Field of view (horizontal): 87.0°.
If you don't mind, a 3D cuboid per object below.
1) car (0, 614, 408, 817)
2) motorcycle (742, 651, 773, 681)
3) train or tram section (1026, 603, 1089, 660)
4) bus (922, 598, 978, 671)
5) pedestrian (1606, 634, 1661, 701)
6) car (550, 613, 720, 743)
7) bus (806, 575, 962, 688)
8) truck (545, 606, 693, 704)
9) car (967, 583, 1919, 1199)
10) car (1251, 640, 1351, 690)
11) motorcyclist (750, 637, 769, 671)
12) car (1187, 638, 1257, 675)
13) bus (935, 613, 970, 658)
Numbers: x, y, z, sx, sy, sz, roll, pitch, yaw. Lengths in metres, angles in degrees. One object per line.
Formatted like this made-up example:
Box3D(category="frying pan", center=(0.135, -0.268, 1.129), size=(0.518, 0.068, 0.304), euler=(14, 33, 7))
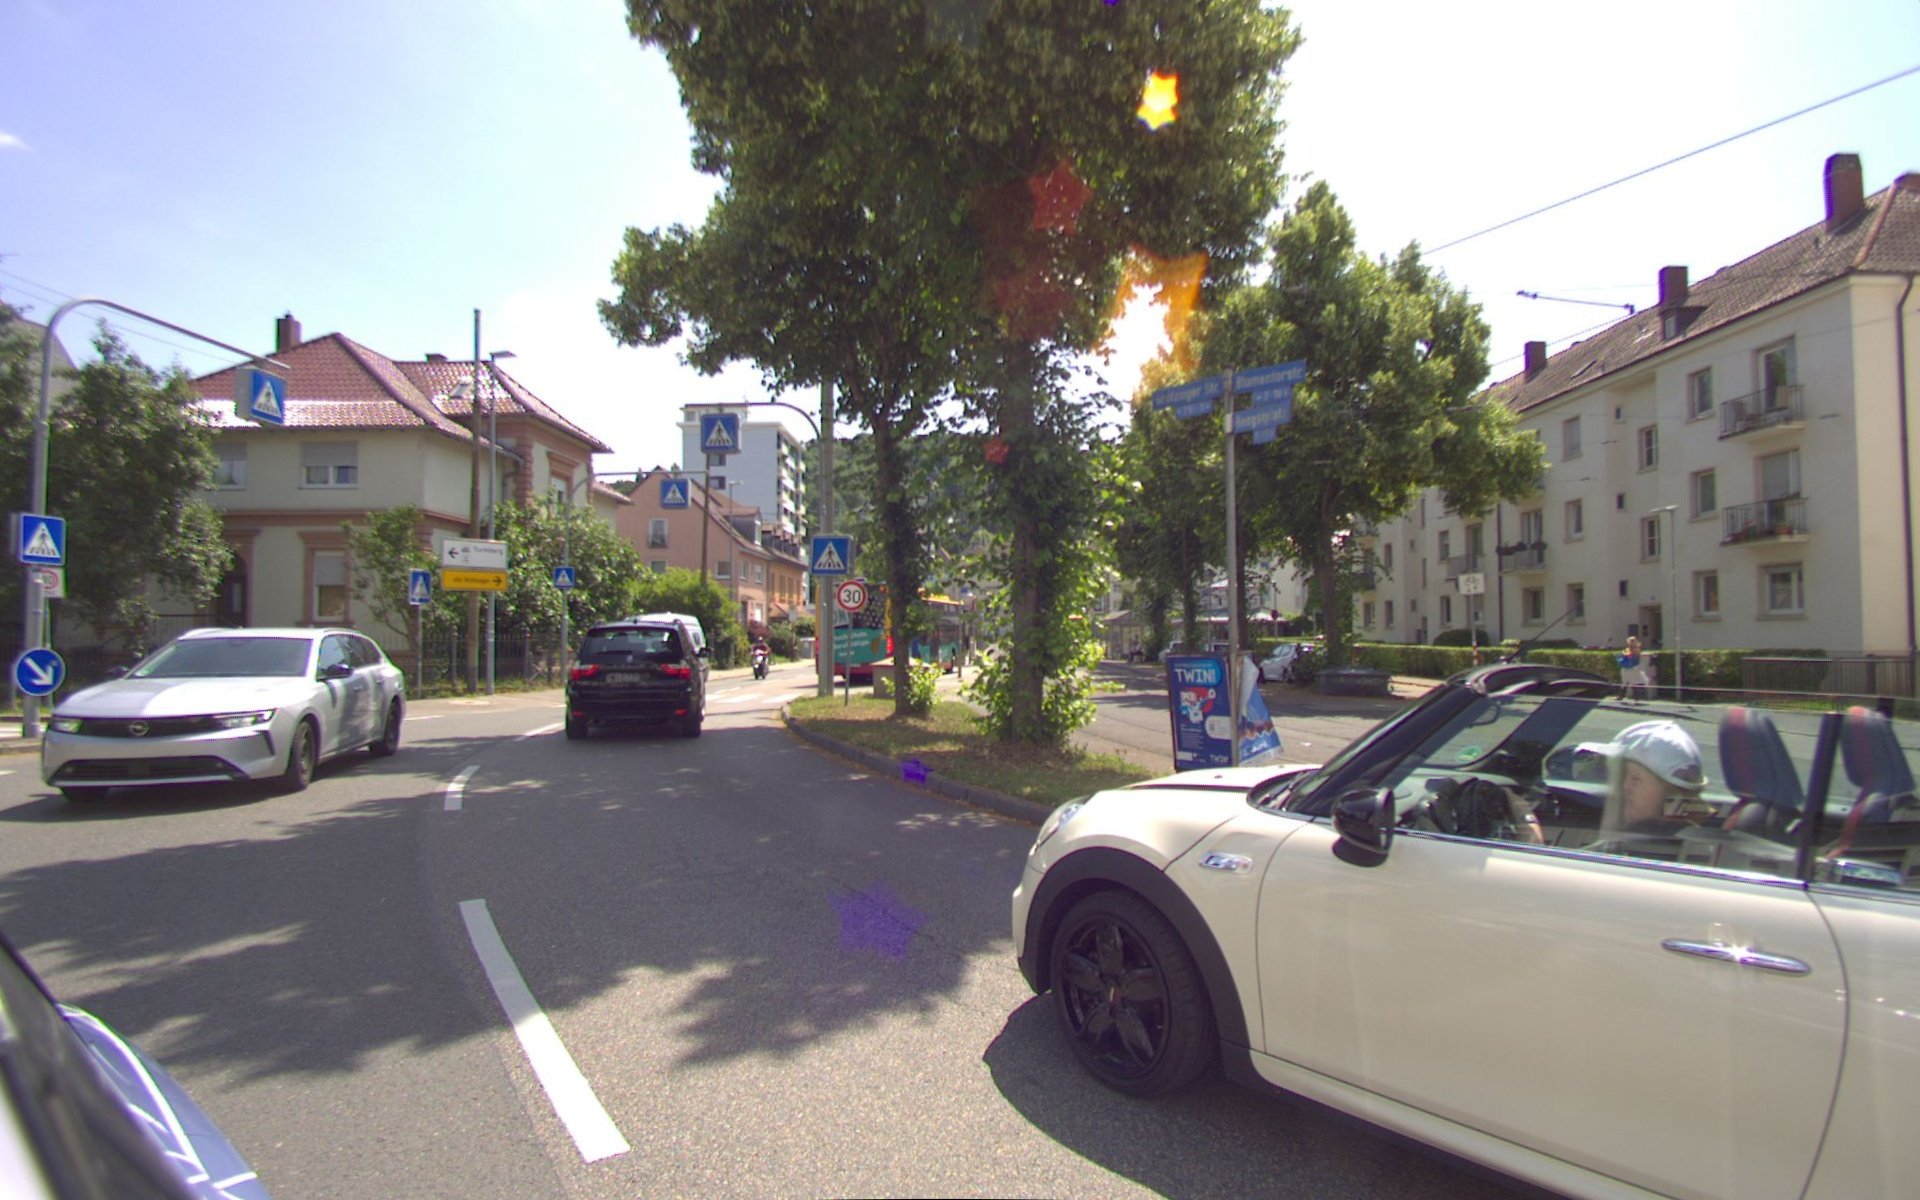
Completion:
Box3D(category="car", center=(-6.846, 0.954, 9.728), size=(1.772, 1.477, 4.182), euler=(0, -3, -15))
Box3D(category="motorcycle", center=(-7.557, 2.451, 37.824), size=(0.662, 1.066, 1.430), euler=(-1, -2, 12))
Box3D(category="train or tram section", center=(6.677, 2.220, 71.493), size=(2.858, 3.547, 13.903), euler=(-1, -2, -1))
Box3D(category="bus", center=(-0.410, 1.997, 56.666), size=(2.660, 3.635, 12.200), euler=(0, -2, 2))
Box3D(category="pedestrian", center=(16.228, 1.620, 24.406), size=(0.766, 1.572, 0.744), euler=(-1, -2, 0))
Box3D(category="car", center=(-4.639, 1.097, 15.063), size=(1.832, 1.644, 4.337), euler=(1, -3, -10))
Box3D(category="bus", center=(-2.269, 1.177, 35.456), size=(2.679, 3.322, 10.819), euler=(-1, -3, 11))
Box3D(category="truck", center=(-8.799, 1.429, 26.670), size=(1.993, 2.266, 5.405), euler=(-2, -3, 1))
Box3D(category="car", center=(1.933, 0.742, 2.834), size=(1.752, 1.475, 3.751), euler=(2, -2, -43))
Box3D(category="car", center=(10.895, 2.052, 32.604), size=(1.819, 1.494, 3.955), euler=(0, -2, 0))
Box3D(category="motorcyclist", center=(-7.532, 2.033, 37.963), size=(0.535, 1.252, 0.553), euler=(-1, -2, 12))
Box3D(category="car", center=(11.150, 2.373, 43.379), size=(1.819, 1.494, 4.258), euler=(0, -2, 0))
Box3D(category="bus", center=(-0.592, 2.762, 77.835), size=(2.540, 3.213, 10.155), euler=(0, -2, -1))
